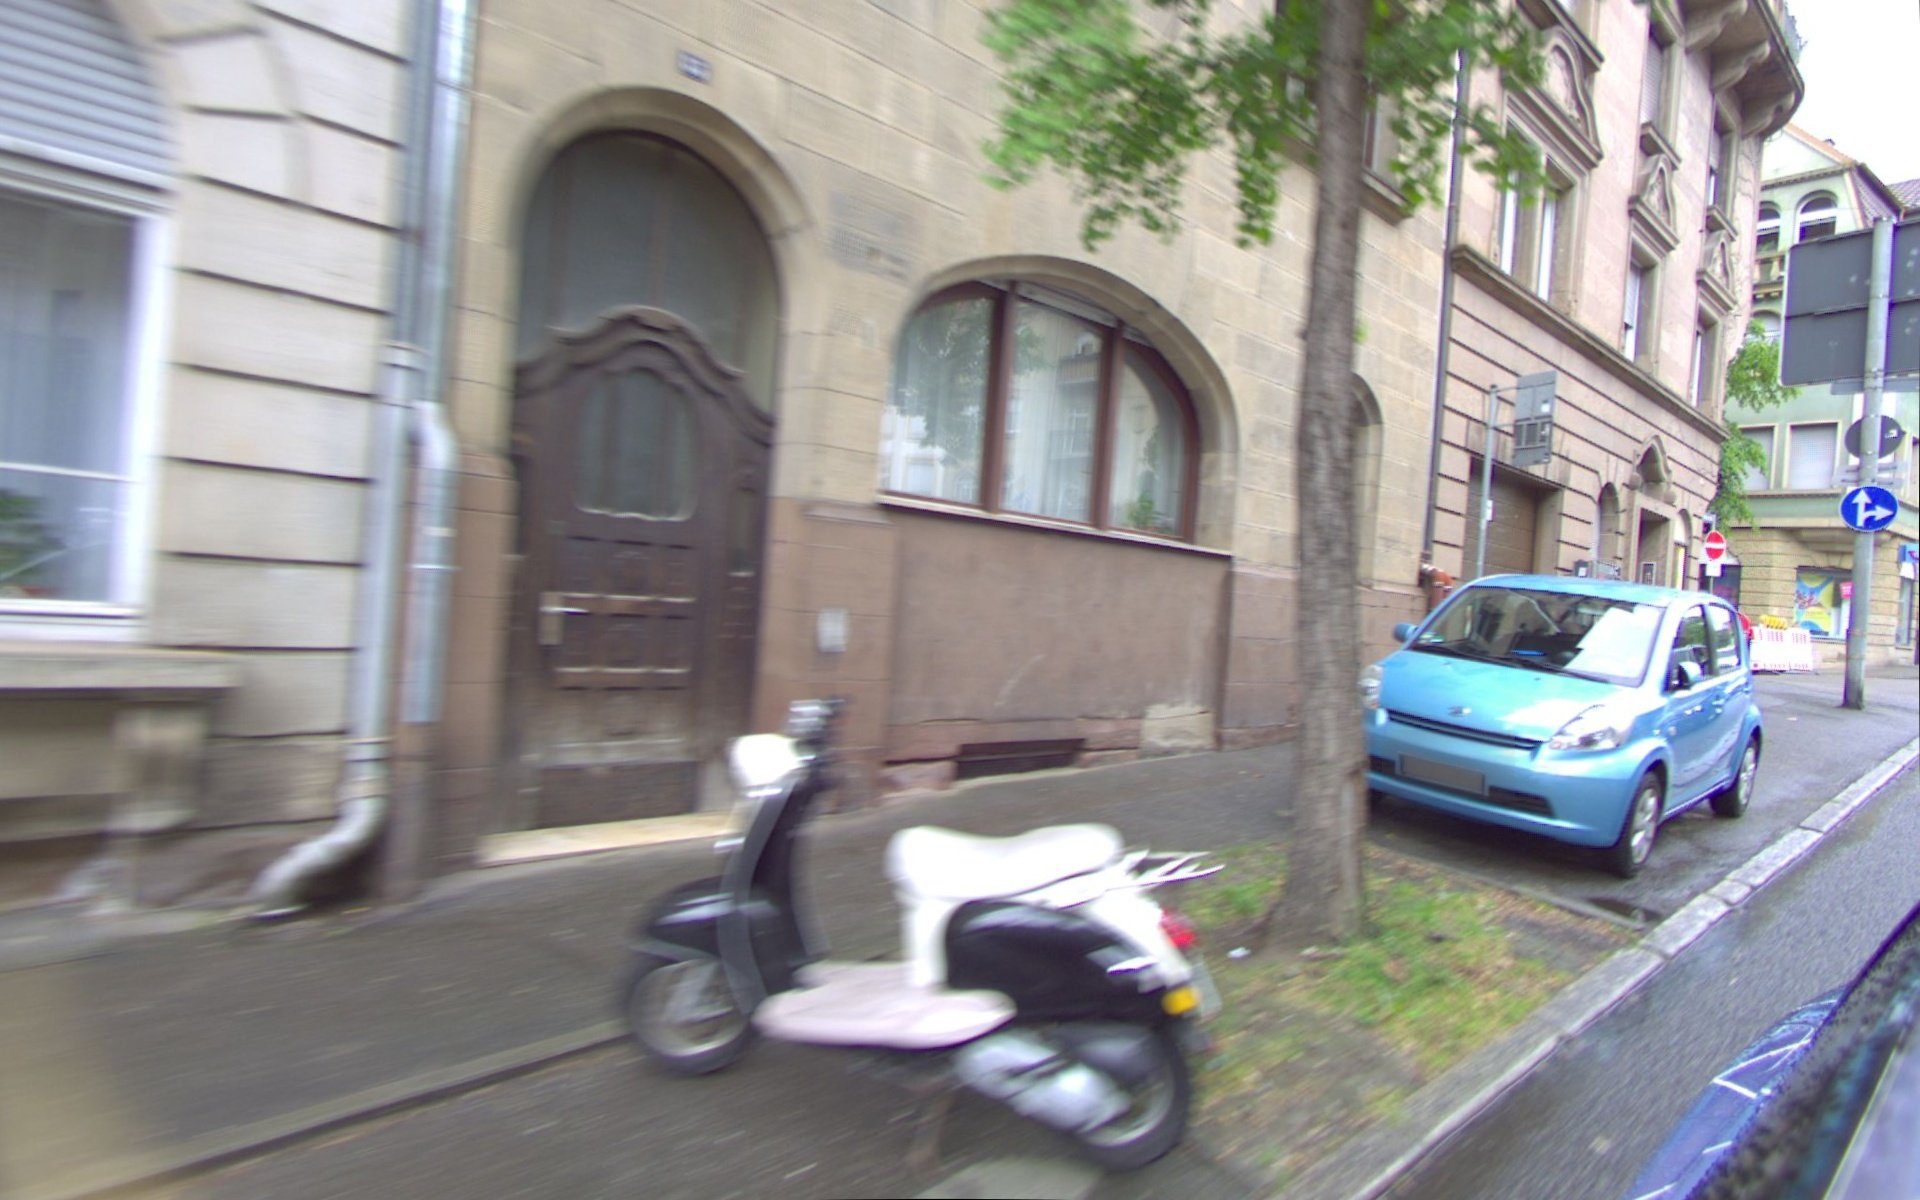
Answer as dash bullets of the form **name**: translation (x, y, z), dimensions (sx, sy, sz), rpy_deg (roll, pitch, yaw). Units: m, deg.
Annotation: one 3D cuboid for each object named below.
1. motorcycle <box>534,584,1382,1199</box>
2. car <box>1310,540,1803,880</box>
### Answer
- **motorcycle**: translation (-0.035, 0.651, 2.617), dimensions (1.910, 1.250, 0.655), rpy_deg (4, 2, 14)
- **car**: translation (4.018, 0.486, 6.598), dimensions (3.602, 1.561, 1.660), rpy_deg (0, 4, -41)
